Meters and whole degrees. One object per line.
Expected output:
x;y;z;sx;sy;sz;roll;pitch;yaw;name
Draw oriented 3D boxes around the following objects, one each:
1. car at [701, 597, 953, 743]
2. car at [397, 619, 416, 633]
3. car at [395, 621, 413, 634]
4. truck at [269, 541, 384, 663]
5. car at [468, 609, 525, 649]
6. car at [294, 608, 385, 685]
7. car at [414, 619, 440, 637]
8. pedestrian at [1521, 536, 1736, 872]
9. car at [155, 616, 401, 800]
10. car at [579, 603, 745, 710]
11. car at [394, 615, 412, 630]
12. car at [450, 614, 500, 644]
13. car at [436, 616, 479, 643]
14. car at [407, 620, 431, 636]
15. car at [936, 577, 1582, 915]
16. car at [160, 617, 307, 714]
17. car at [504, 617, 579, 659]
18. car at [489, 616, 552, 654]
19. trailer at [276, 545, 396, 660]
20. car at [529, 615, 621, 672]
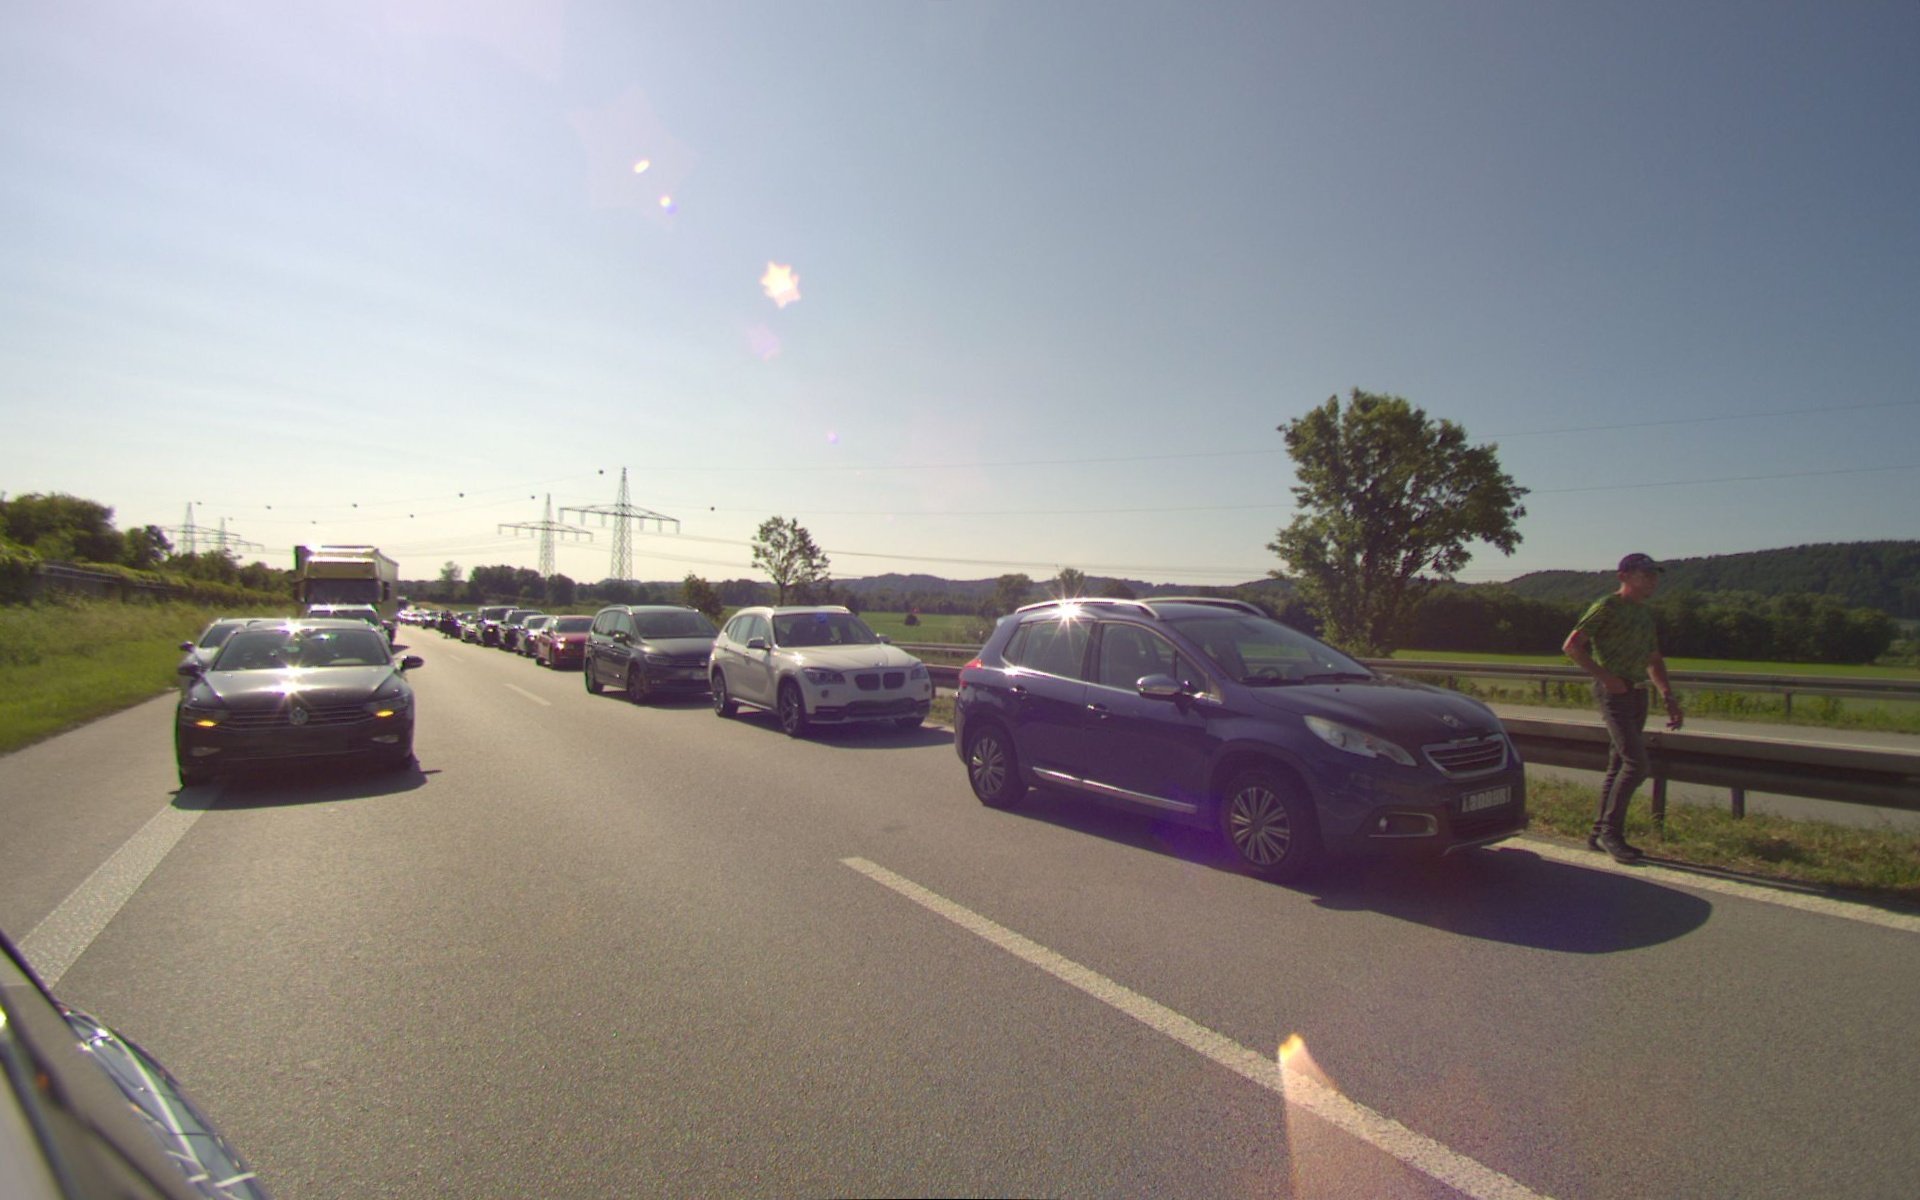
-1.908;0.805;13.260;1.802;1.586;4.176;1;-1;-30;car
-61.449;2.858;112.260;1.790;1.470;4.130;-1;-1;-29;car
-64.348;3.134;117.118;1.790;1.470;4.130;1;-2;-29;car
-23.701;0.089;38.197;3.278;4.144;6.992;0;0;-29;truck
-21.661;1.341;47.195;1.871;1.801;4.212;1;-2;-32;car
-14.597;1.031;23.916;1.689;1.636;4.338;0;-1;-31;car
-46.223;2.403;87.713;1.790;1.470;4.130;1;-2;-30;car
3.844;0.557;5.852;0.661;1.763;0.817;1;-2;-30;pedestrian
-6.706;0.888;10.261;1.689;1.424;4.338;0;-1;-31;car
-5.372;0.906;17.864;1.790;1.628;4.129;0;-1;-31;car
-68.961;2.827;125.287;1.783;1.807;3.784;1;-2;-31;car
-25.538;1.521;53.255;1.966;1.542;4.012;1;-2;-31;car
-30.430;1.759;61.186;1.966;1.542;4.012;1;-2;-31;car
-50.705;2.612;94.877;1.790;1.470;4.129;-1;-1;-31;car
1.618;0.688;6.755;1.665;1.546;3.959;-1;0;-34;car
-12.483;1.037;17.626;1.689;1.436;4.338;0;-1;-31;car
-14.949;1.326;36.058;1.864;1.409;4.012;1;-2;-31;car
-17.994;1.396;41.355;1.863;1.466;4.012;1;-2;-31;car
-26.497;0.135;43.652;3.332;4.144;13.997;-1;0;-27;trailer
-10.849;1.171;28.341;1.790;1.470;4.130;1;-2;-29;car
